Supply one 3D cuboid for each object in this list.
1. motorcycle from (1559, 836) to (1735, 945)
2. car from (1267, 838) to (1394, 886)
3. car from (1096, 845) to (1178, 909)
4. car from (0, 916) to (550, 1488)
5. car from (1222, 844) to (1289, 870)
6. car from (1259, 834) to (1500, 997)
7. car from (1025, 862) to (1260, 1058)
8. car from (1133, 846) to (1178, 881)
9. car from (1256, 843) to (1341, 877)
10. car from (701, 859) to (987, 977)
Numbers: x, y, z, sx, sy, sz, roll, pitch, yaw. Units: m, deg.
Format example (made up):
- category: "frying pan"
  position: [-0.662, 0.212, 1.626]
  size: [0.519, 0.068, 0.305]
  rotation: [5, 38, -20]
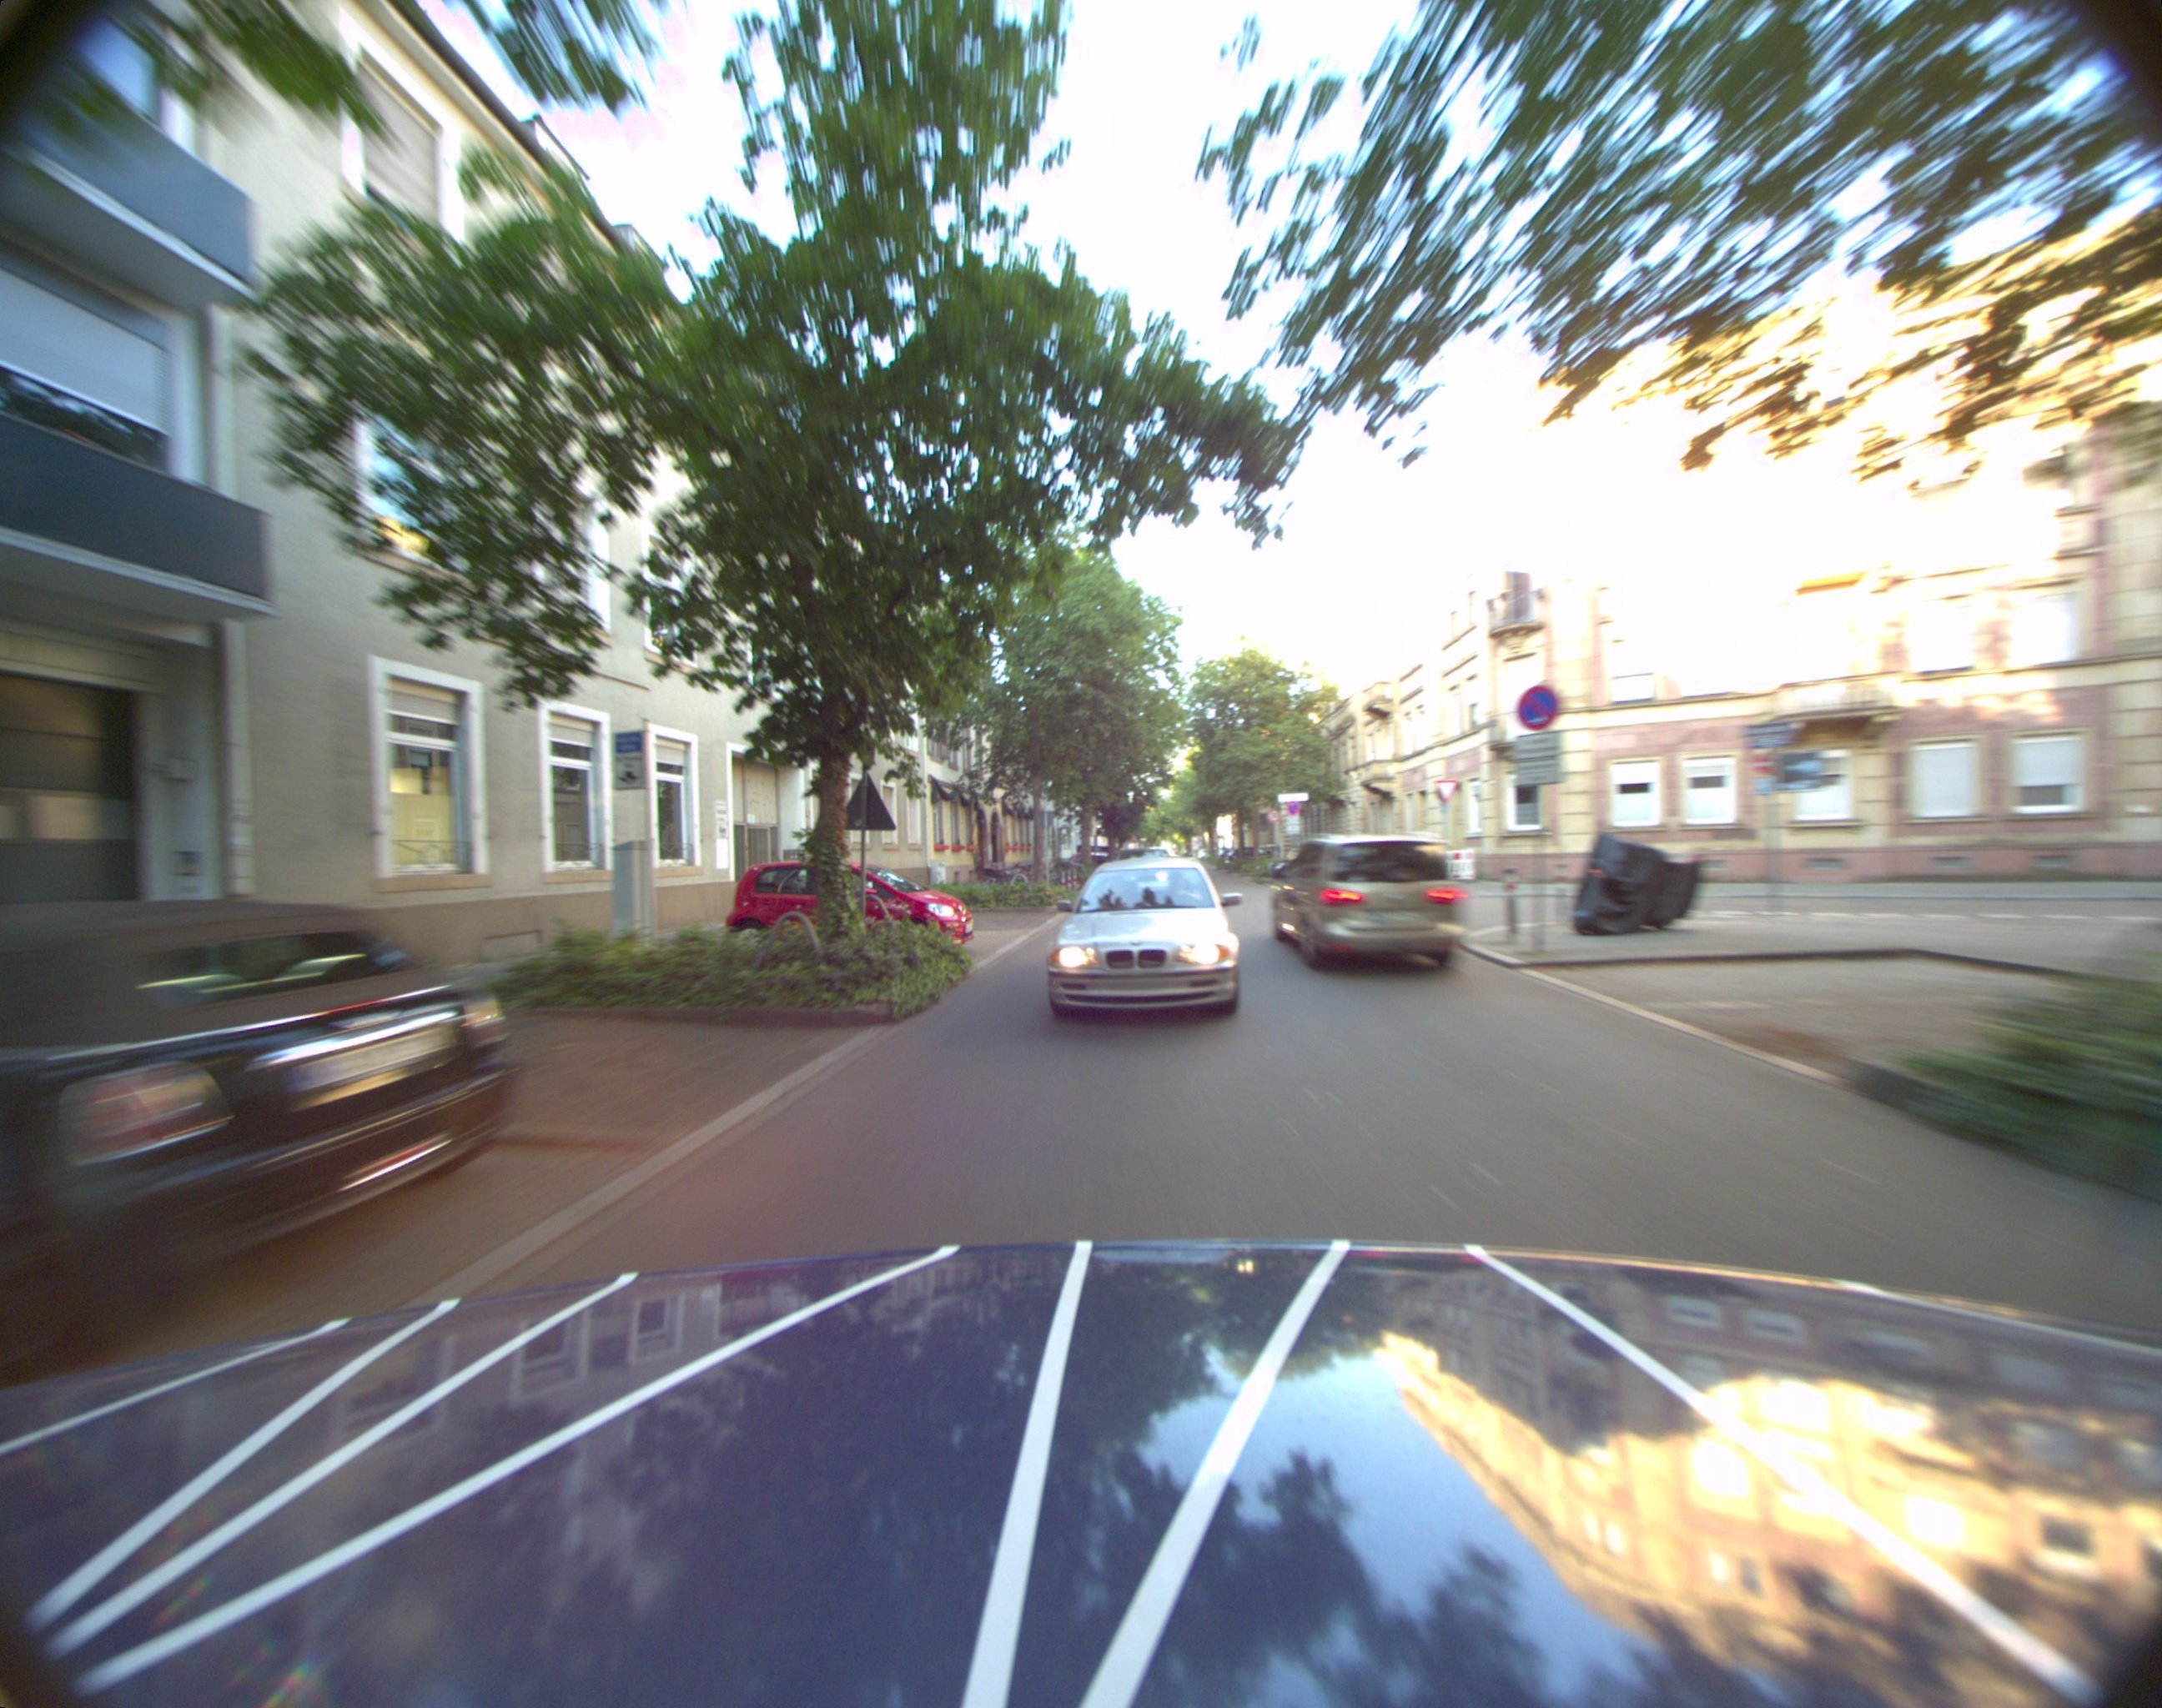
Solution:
- category: "motorcycle"
  position: [8.364, 0.503, 11.249]
  size: [2.233, 1.461, 0.901]
  rotation: [-2, 1, -16]
- category: "car"
  position: [9.875, 0.321, 30.471]
  size: [4.599, 1.725, 2.143]
  rotation: [-2, 1, 12]
- category: "car"
  position: [1.768, 0.612, 22.561]
  size: [1.892, 1.636, 4.003]
  rotation: [-3, 1, 11]
- category: "car"
  position: [-4.609, 1.040, 2.984]
  size: [3.844, 1.403, 1.713]
  rotation: [-1, 1, 2]
- category: "car"
  position: [12.443, 0.197, 54.419]
  size: [4.526, 1.706, 2.001]
  rotation: [-2, 1, 7]
- category: "car"
  position: [3.655, 0.628, 10.199]
  size: [1.786, 1.679, 4.387]
  rotation: [-2, 1, 5]
- category: "car"
  position: [0.713, 0.847, 7.925]
  size: [1.736, 1.363, 4.334]
  rotation: [-2, 1, 7]
- category: "car"
  position: [3.987, 0.446, 40.228]
  size: [1.914, 1.679, 3.973]
  rotation: [-2, 1, 12]
- category: "car"
  position: [10.893, 0.307, 38.111]
  size: [3.992, 1.576, 2.002]
  rotation: [-1, 1, 17]
- category: "car"
  position: [-3.473, 0.920, 11.600]
  size: [3.730, 1.544, 1.755]
  rotation: [-2, 1, 4]
